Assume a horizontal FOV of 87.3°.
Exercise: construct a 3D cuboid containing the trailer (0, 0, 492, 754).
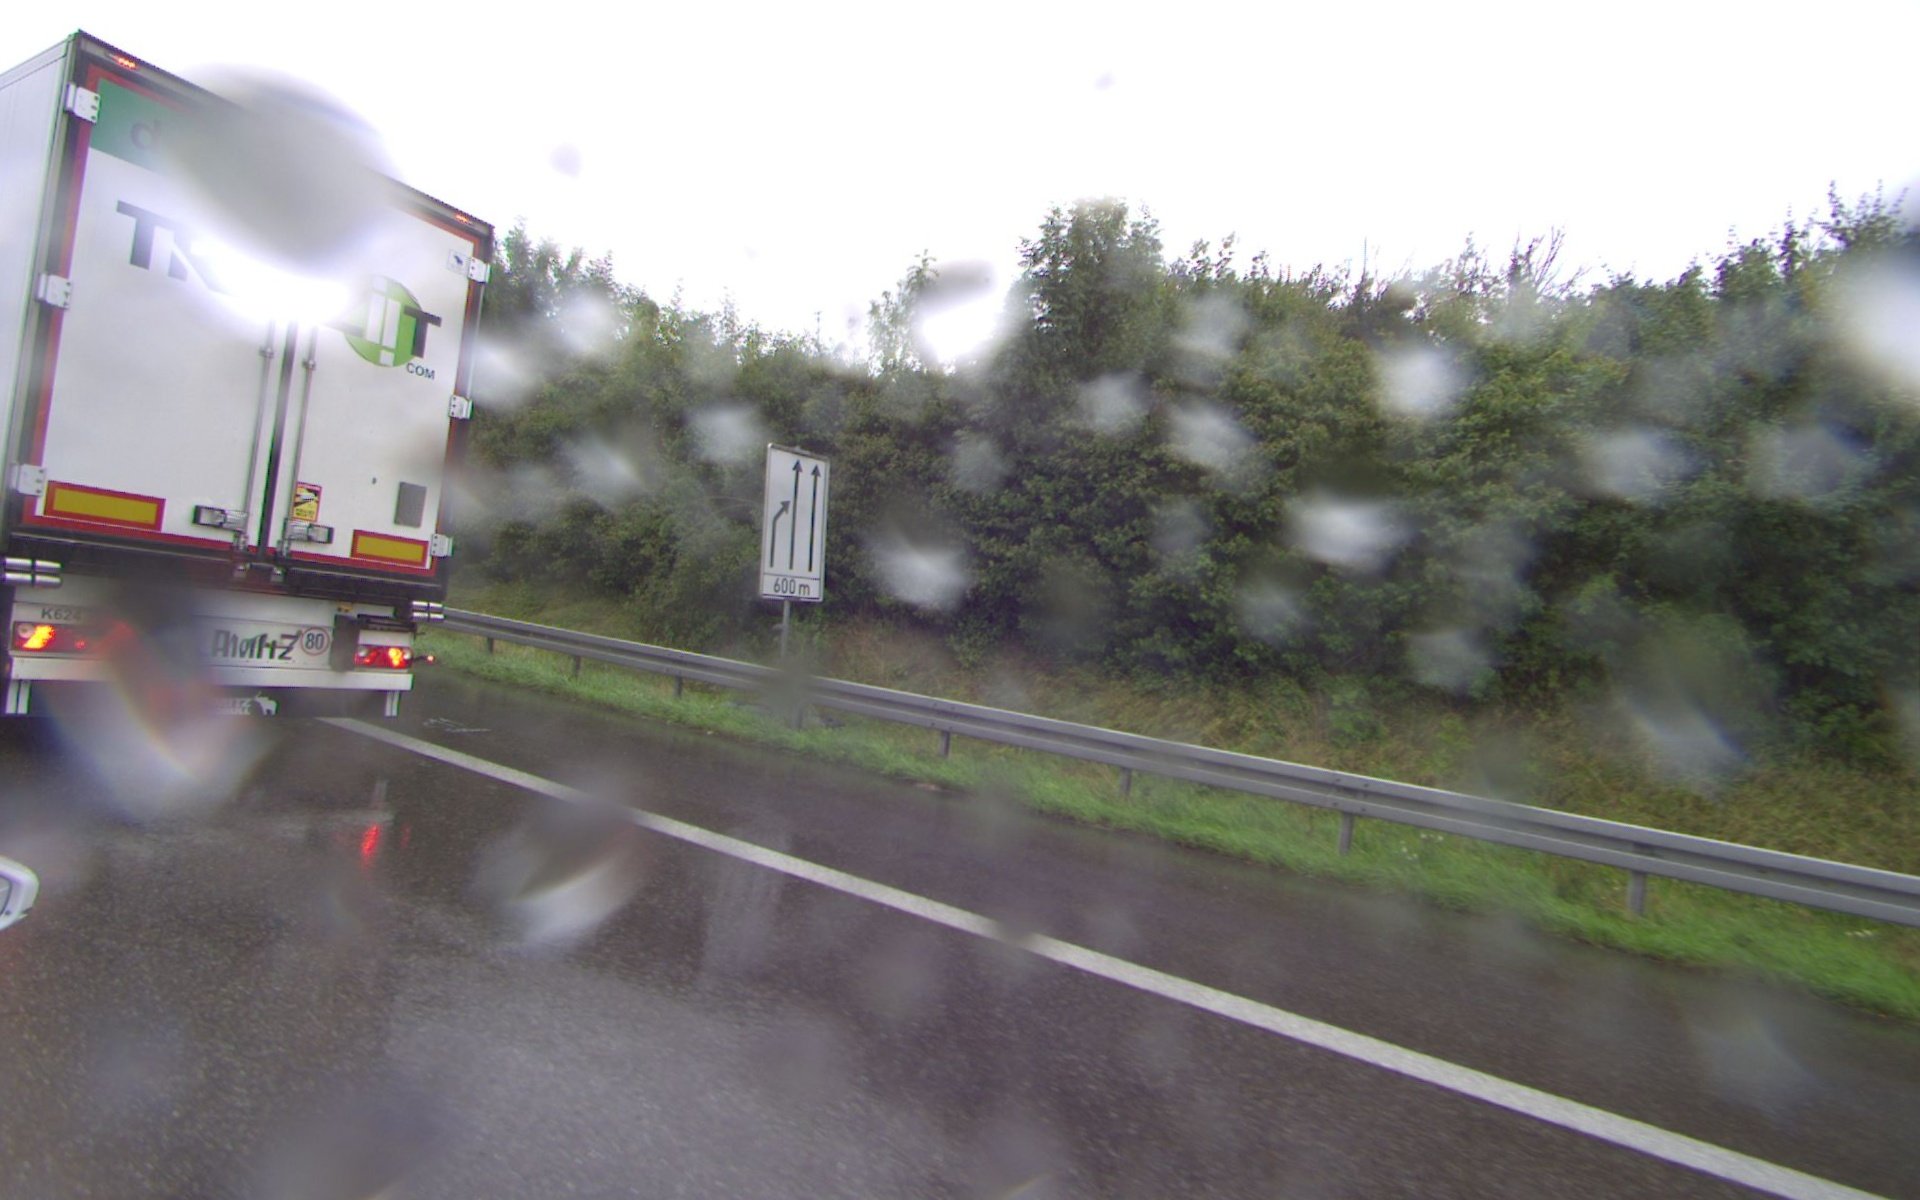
[{"bbox_3d":[-10.521,-1.816,10.292,14.387,4.061,2.634,7,0,32],"label":"trailer"}]
